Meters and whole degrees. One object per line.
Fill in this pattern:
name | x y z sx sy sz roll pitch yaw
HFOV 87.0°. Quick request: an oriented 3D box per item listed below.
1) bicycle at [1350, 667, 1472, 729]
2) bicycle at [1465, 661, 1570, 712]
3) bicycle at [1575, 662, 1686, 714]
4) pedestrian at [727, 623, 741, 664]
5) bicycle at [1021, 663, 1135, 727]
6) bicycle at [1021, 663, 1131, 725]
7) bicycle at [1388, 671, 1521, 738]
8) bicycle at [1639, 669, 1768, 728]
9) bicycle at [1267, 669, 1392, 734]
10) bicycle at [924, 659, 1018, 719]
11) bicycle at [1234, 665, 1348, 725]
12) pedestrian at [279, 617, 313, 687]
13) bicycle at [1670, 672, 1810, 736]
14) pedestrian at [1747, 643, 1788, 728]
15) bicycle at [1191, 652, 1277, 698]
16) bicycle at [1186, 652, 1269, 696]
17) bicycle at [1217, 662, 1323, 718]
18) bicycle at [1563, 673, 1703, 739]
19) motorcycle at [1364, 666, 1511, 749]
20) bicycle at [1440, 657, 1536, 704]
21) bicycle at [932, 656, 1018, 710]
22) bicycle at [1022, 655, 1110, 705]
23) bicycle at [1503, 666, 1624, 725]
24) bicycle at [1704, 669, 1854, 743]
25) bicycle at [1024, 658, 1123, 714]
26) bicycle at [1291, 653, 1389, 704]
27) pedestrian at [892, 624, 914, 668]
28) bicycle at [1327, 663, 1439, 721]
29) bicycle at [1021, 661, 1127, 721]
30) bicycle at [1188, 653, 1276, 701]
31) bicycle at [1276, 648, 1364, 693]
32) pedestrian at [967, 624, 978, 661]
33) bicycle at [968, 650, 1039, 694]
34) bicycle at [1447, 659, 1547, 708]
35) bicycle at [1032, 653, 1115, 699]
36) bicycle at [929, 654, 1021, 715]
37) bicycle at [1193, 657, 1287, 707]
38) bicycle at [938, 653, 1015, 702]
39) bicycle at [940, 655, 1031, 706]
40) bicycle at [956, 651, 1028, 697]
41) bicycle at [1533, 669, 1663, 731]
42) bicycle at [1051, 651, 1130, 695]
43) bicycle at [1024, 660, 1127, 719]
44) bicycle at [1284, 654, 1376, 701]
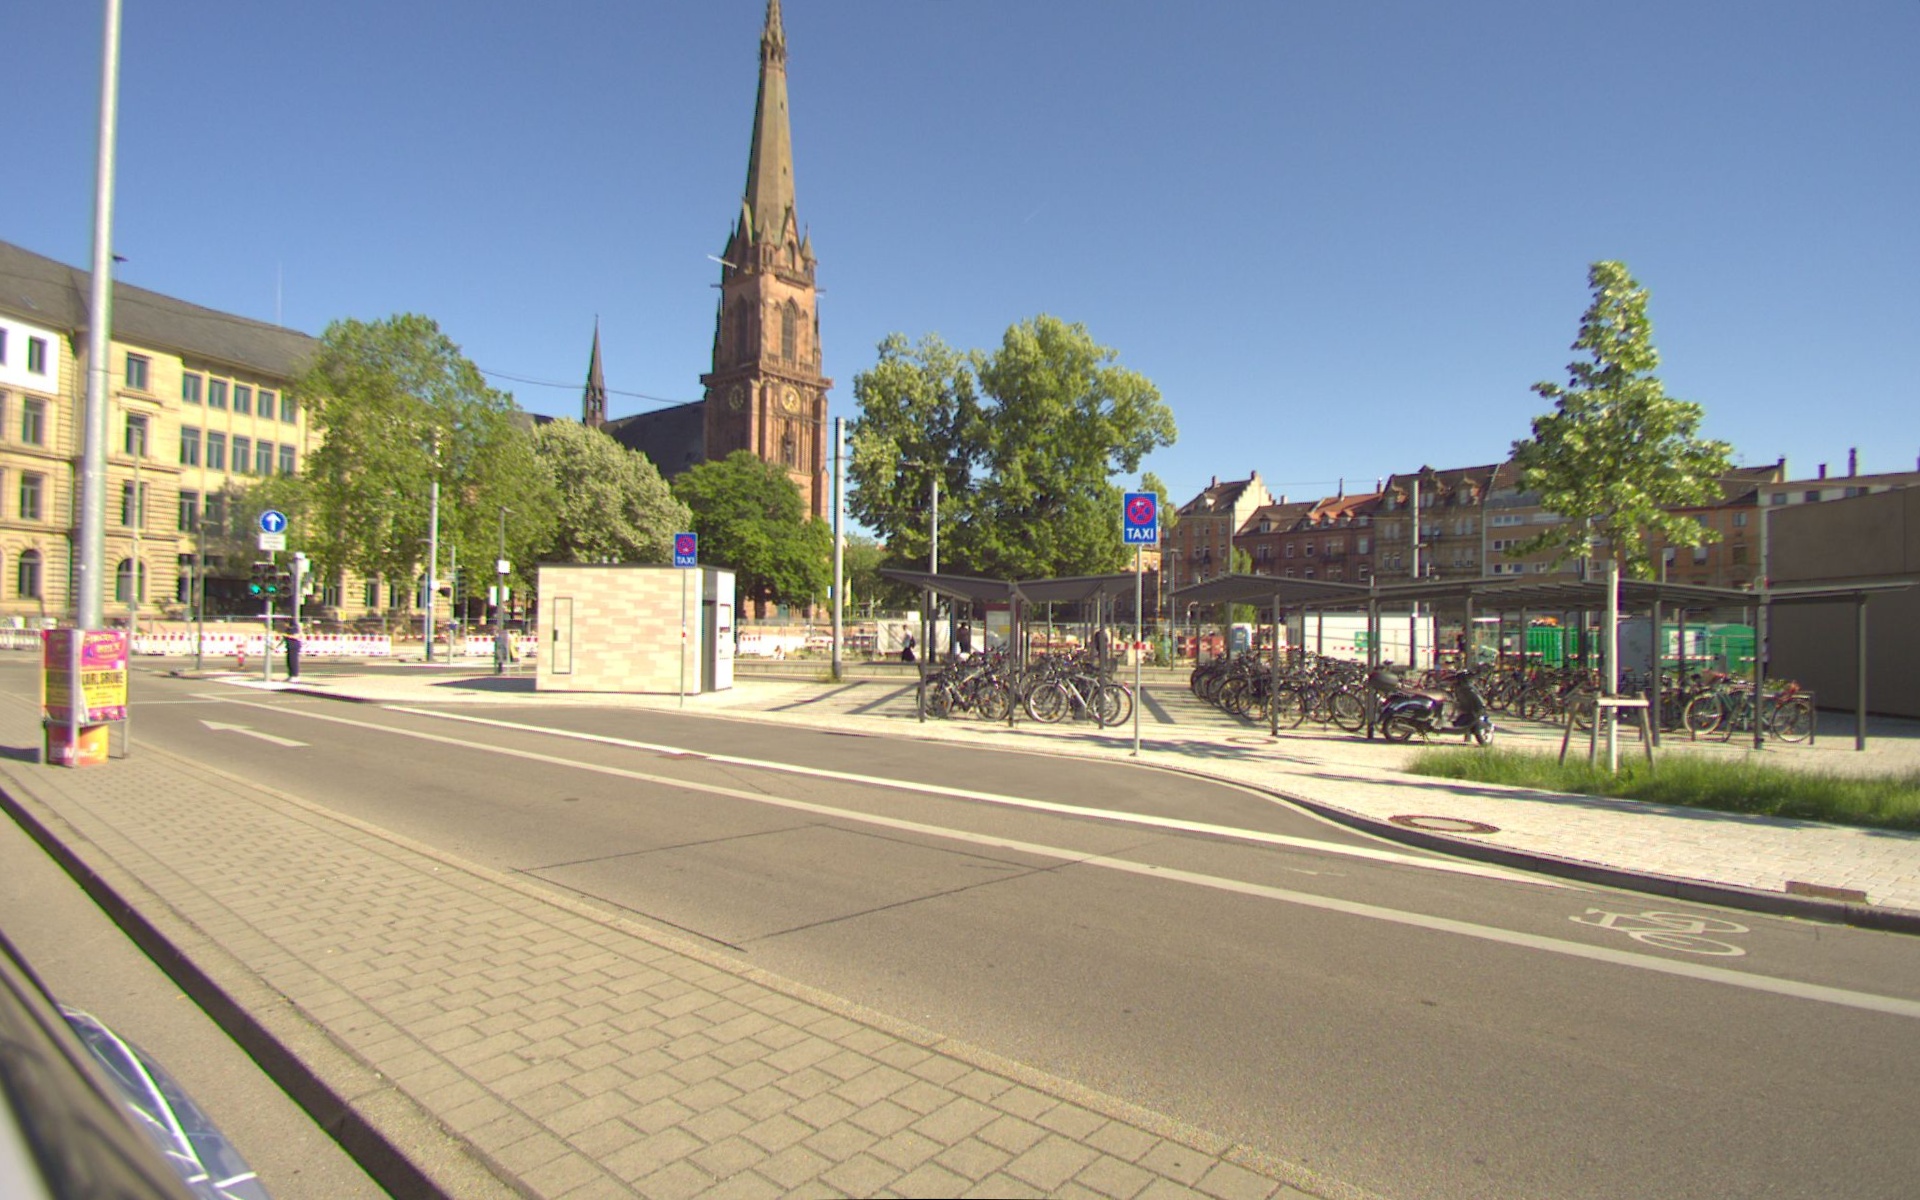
bicycle | 7.895 1.709 17.764 1.882 1.016 0.456 0 -2 8
bicycle | 11.715 1.814 21.314 1.882 1.016 0.456 0 -2 8
bicycle | 13.874 1.818 20.973 1.882 1.016 0.456 0 -2 8
pedestrian | -12.160 2.333 54.442 0.545 2.171 0.568 0 -2 15
bicycle | 1.990 1.602 17.115 1.882 1.016 0.456 0 -2 8
bicycle | 2.020 1.624 17.675 1.882 1.016 0.456 0 -2 8
bicycle | 8.029 1.692 16.495 1.882 1.016 0.456 0 -2 8
bicycle | 13.470 1.777 18.366 1.882 1.016 0.456 0 -2 8
bicycle | 6.122 1.682 16.841 1.882 1.016 0.456 0 -2 8
bicycle | 0.202 1.586 18.192 1.652 1.016 0.456 0 -2 8
bicycle | 5.901 1.683 18.094 1.882 1.016 0.456 0 -2 8
pedestrian | -17.862 1.389 27.222 0.683 1.868 0.680 2 -2 -37
bicycle | 13.130 1.743 17.067 1.882 1.016 0.456 0 -2 8
pedestrian | 19.659 2.060 24.642 0.718 2.029 0.678 -1 -2 41
bicycle | 6.367 1.732 23.568 1.882 1.016 0.456 0 -2 8
bicycle | 6.394 1.762 24.227 1.882 1.016 0.456 0 -2 8
bicycle | 5.898 1.708 19.324 1.882 1.016 0.456 0 -2 8
bicycle | 10.973 1.718 16.538 1.882 1.016 0.456 0 -2 8
motorcycle | 7.162 1.602 15.227 1.924 1.160 0.516 0 -2 6
bicycle | 12.079 1.836 23.196 1.882 1.016 0.456 0 -2 8
bicycle | 0.306 1.620 19.889 1.652 1.016 0.456 0 -2 8
bicycle | 2.298 1.722 21.922 1.882 1.016 0.456 0 -2 8
bicycle | 11.165 1.756 18.759 1.882 1.016 0.456 0 -2 8
bicycle | 13.083 1.685 16.208 1.882 1.106 0.456 0 -2 8
bicycle | 2.197 1.659 19.586 1.882 1.016 0.456 0 -2 8
bicycle | 8.058 1.661 21.521 1.882 1.016 0.456 0 -2 8
pedestrian | -2.349 1.877 41.821 0.792 1.793 0.977 0 -2 3
bicycle | 7.919 1.712 18.997 1.882 1.016 0.456 0 -2 8
bicycle | 2.055 1.633 18.262 1.882 1.016 0.456 0 -2 8
bicycle | 6.150 1.738 22.944 1.882 1.016 0.456 0 -2 8
bicycle | 8.487 1.652 23.912 1.882 1.016 0.456 0 -2 8
pedestrian | 0.585 1.994 47.617 0.399 1.734 0.419 1 -2 -11
bicycle | 1.043 1.715 24.227 1.652 1.016 0.456 0 -2 8
bicycle | 11.785 1.825 22.245 1.882 1.016 0.456 0 -2 8
bicycle | 2.607 1.748 23.305 1.882 1.016 0.456 0 -2 8
bicycle | 0.281 1.559 18.778 1.652 1.069 0.456 0 -2 8
bicycle | 5.966 1.747 21.611 1.882 1.016 0.456 0 -2 8
bicycle | 0.372 1.691 22.225 1.652 1.016 0.456 0 -2 8
bicycle | 0.544 1.675 21.227 1.882 1.016 0.456 0 -2 8
bicycle | 0.747 1.710 23.483 1.652 1.016 0.456 0 -2 8
bicycle | 11.102 1.732 17.643 1.882 1.016 0.456 0 -2 8
bicycle | 3.163 1.777 24.600 1.882 1.016 0.456 0 -2 8
bicycle | 2.138 1.645 18.745 1.882 1.016 0.456 0 -2 8
bicycle | 8.316 1.735 22.819 1.882 1.016 0.456 0 -2 8
